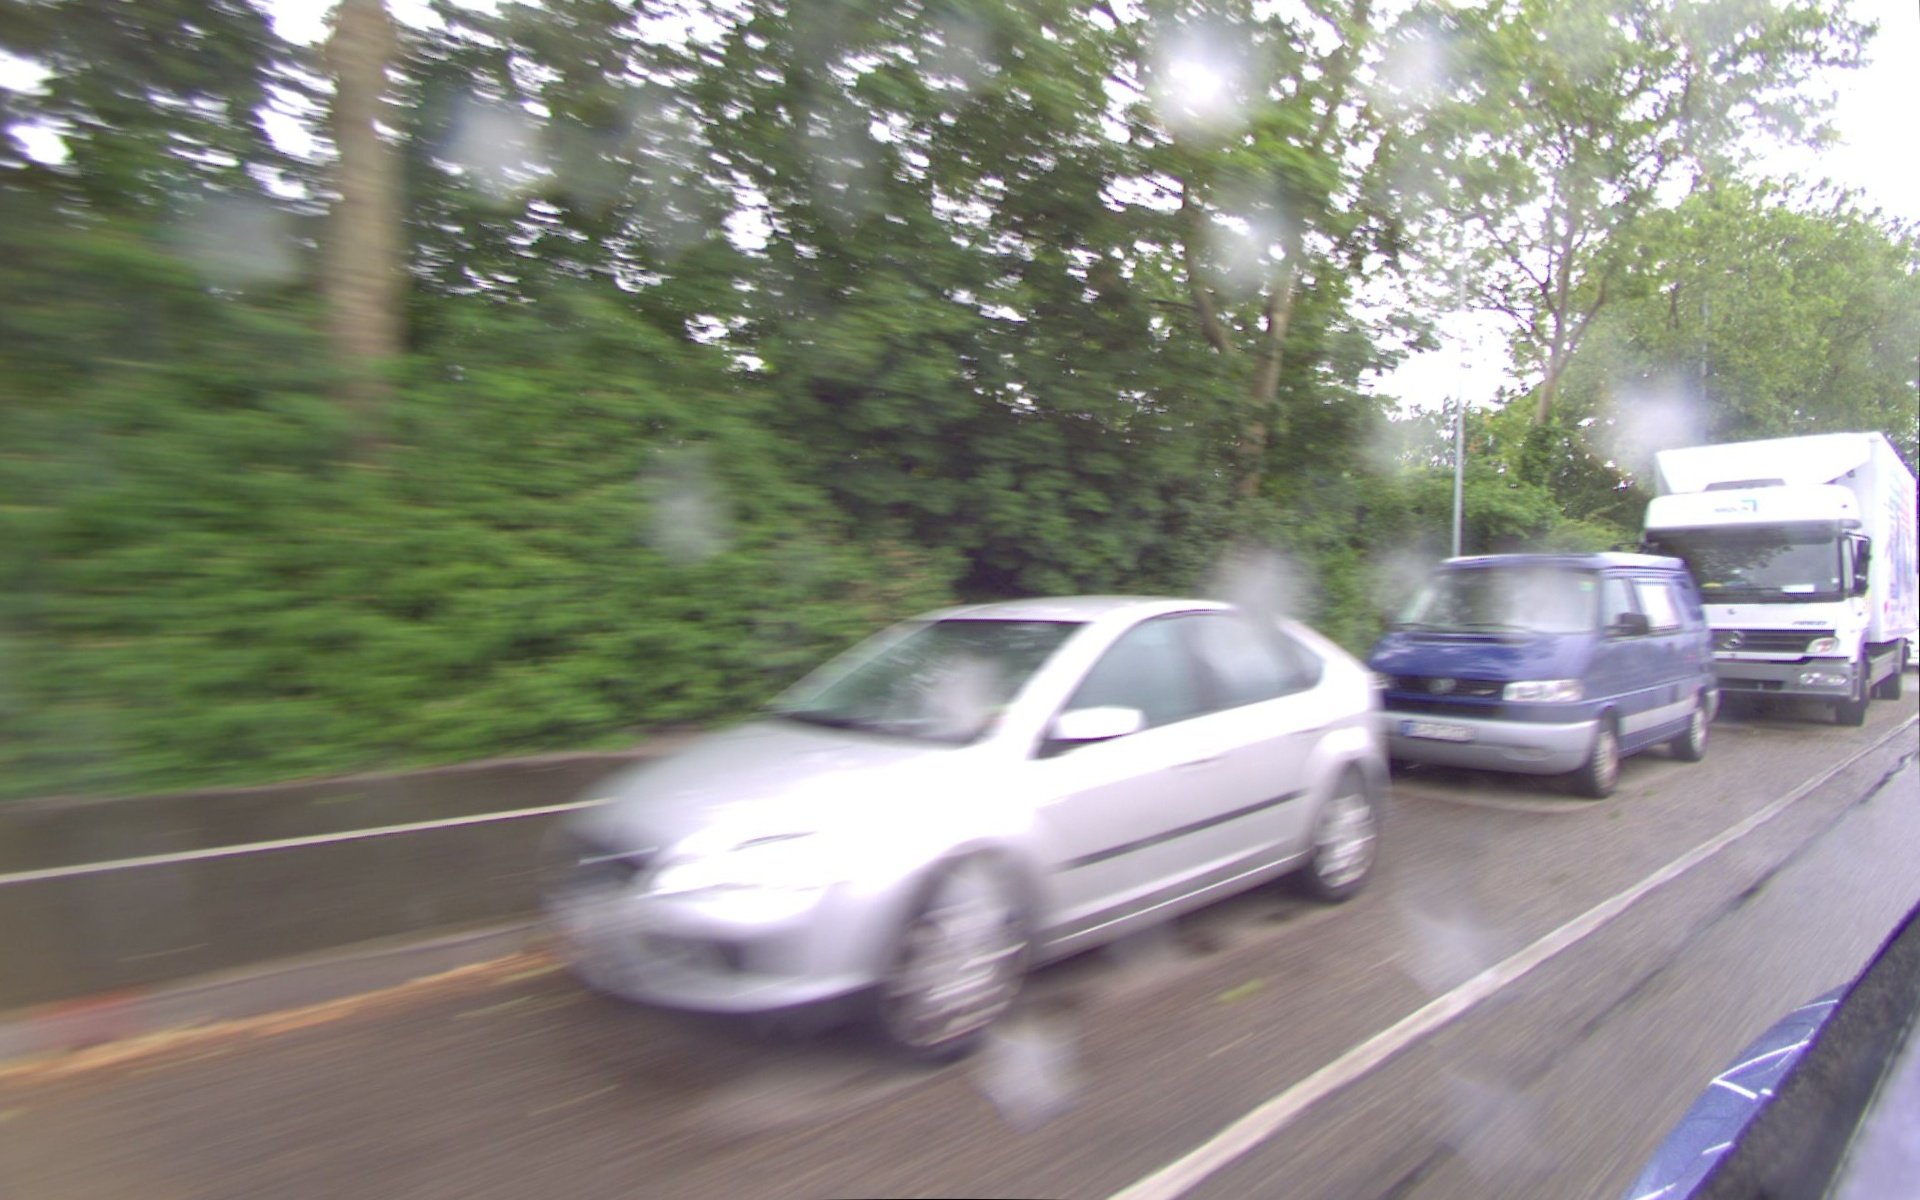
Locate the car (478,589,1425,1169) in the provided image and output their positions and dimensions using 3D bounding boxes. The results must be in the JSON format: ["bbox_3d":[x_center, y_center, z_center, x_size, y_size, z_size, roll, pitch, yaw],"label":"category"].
[{"bbox_3d":[0.297,0.697,4.698,4.270,1.478,1.815,-1,0,-41],"label":"car"}]

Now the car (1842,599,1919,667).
[{"bbox_3d":[23.067,0.759,24.735,3.931,1.549,1.715,0,-3,-42],"label":"car"}]

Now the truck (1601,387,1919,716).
[{"bbox_3d":[13.111,-0.643,15.892,9.687,3.750,2.779,-1,1,-43],"label":"truck"}]

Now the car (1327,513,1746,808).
[{"bbox_3d":[5.503,0.416,9.331,4.893,2.039,1.879,0,0,-41],"label":"car"}]
